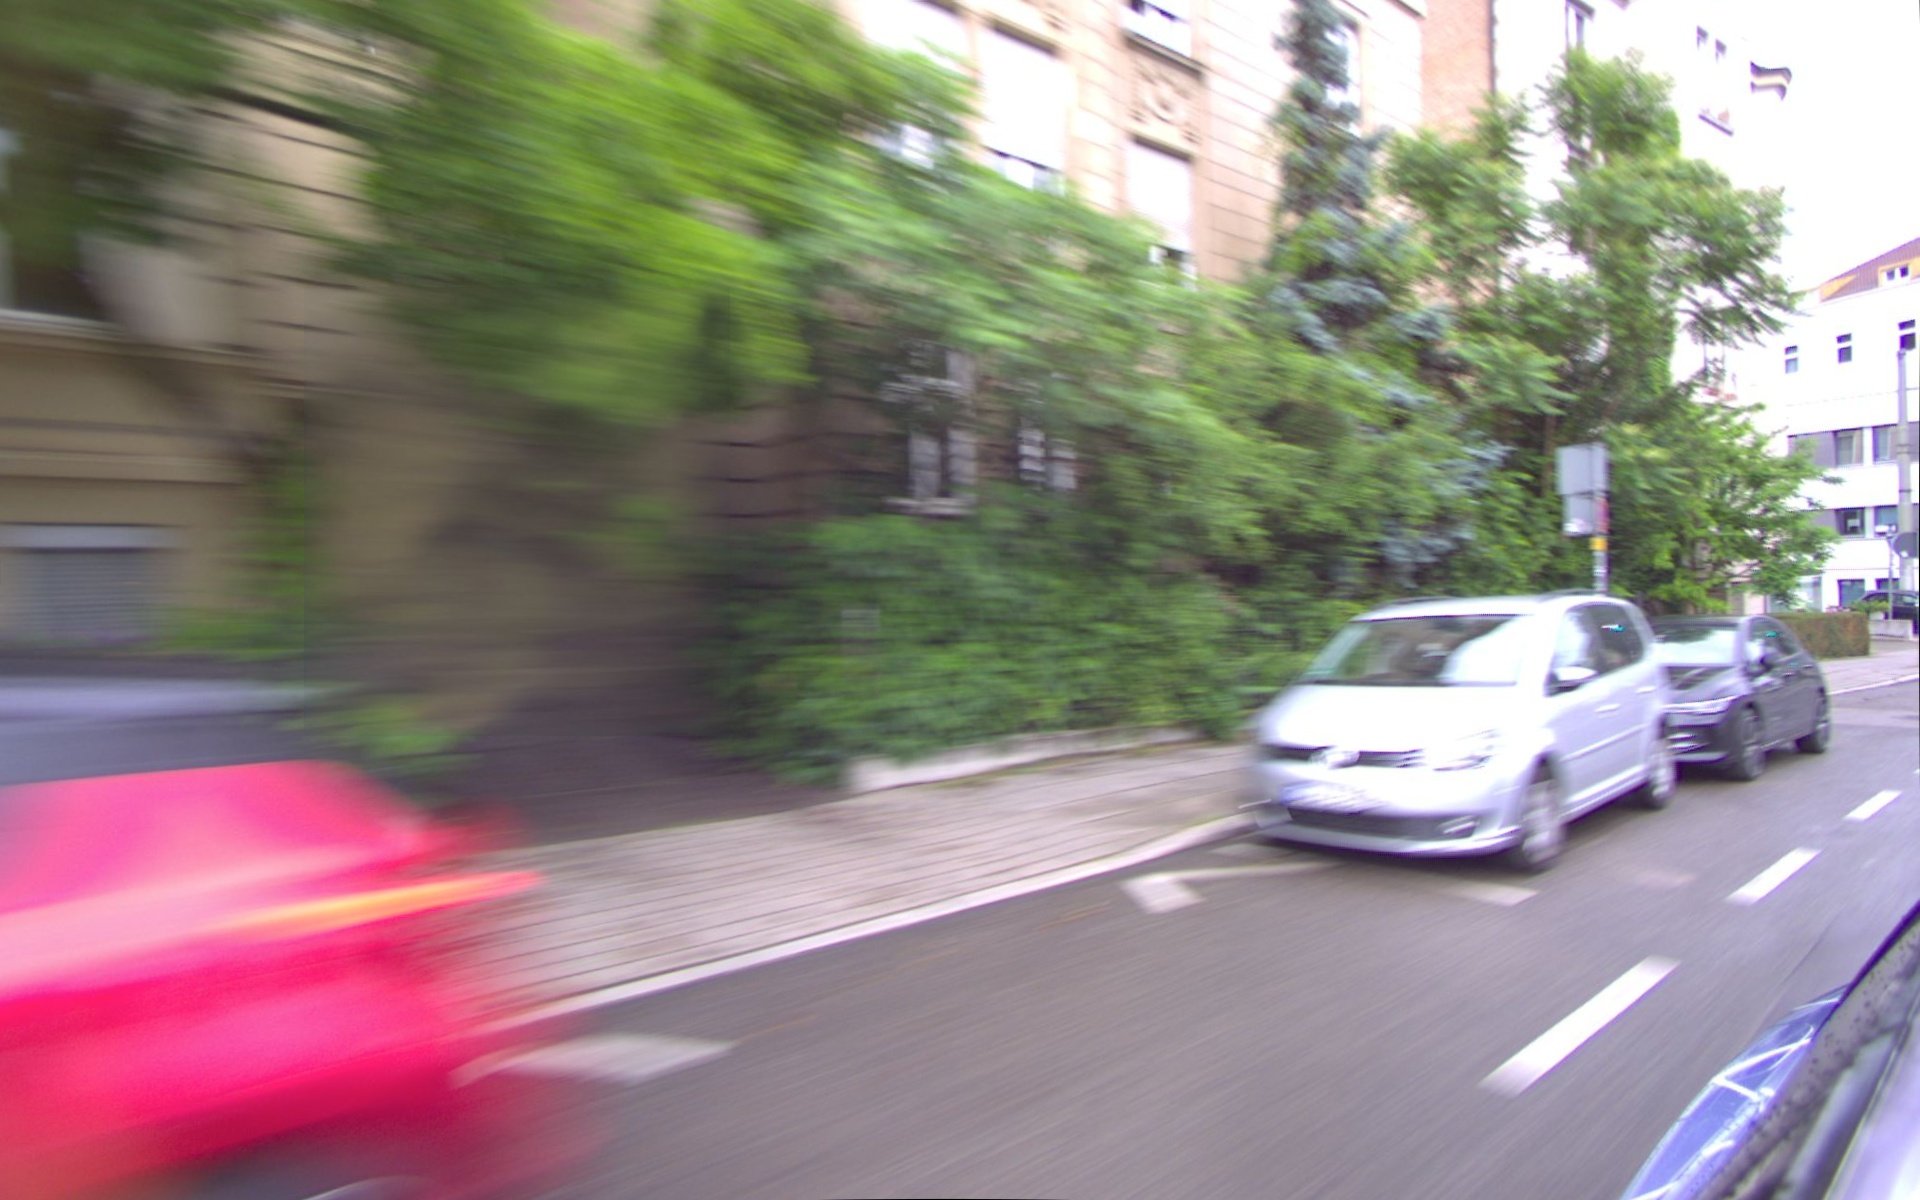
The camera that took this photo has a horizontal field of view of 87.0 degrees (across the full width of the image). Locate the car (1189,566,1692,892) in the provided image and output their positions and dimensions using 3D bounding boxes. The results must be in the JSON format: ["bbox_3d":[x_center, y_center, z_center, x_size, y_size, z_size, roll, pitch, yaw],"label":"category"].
[{"bbox_3d":[3.575,0.622,7.133,4.215,1.624,1.768,0,0,-43],"label":"car"}]

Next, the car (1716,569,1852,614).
[{"bbox_3d":[31.751,-0.378,39.107,1.702,1.526,3.677,-1,4,-28],"label":"car"}]

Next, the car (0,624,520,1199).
[{"bbox_3d":[-2.809,0.792,1.338,3.773,1.455,1.725,0,-2,-40],"label":"car"}]

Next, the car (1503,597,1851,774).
[{"bbox_3d":[7.204,0.751,10.043,3.926,1.409,1.769,2,-3,-38],"label":"car"}]

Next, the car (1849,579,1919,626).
[{"bbox_3d":[33.779,0.112,35.376,1.702,1.526,3.677,-1,4,-28],"label":"car"}]
